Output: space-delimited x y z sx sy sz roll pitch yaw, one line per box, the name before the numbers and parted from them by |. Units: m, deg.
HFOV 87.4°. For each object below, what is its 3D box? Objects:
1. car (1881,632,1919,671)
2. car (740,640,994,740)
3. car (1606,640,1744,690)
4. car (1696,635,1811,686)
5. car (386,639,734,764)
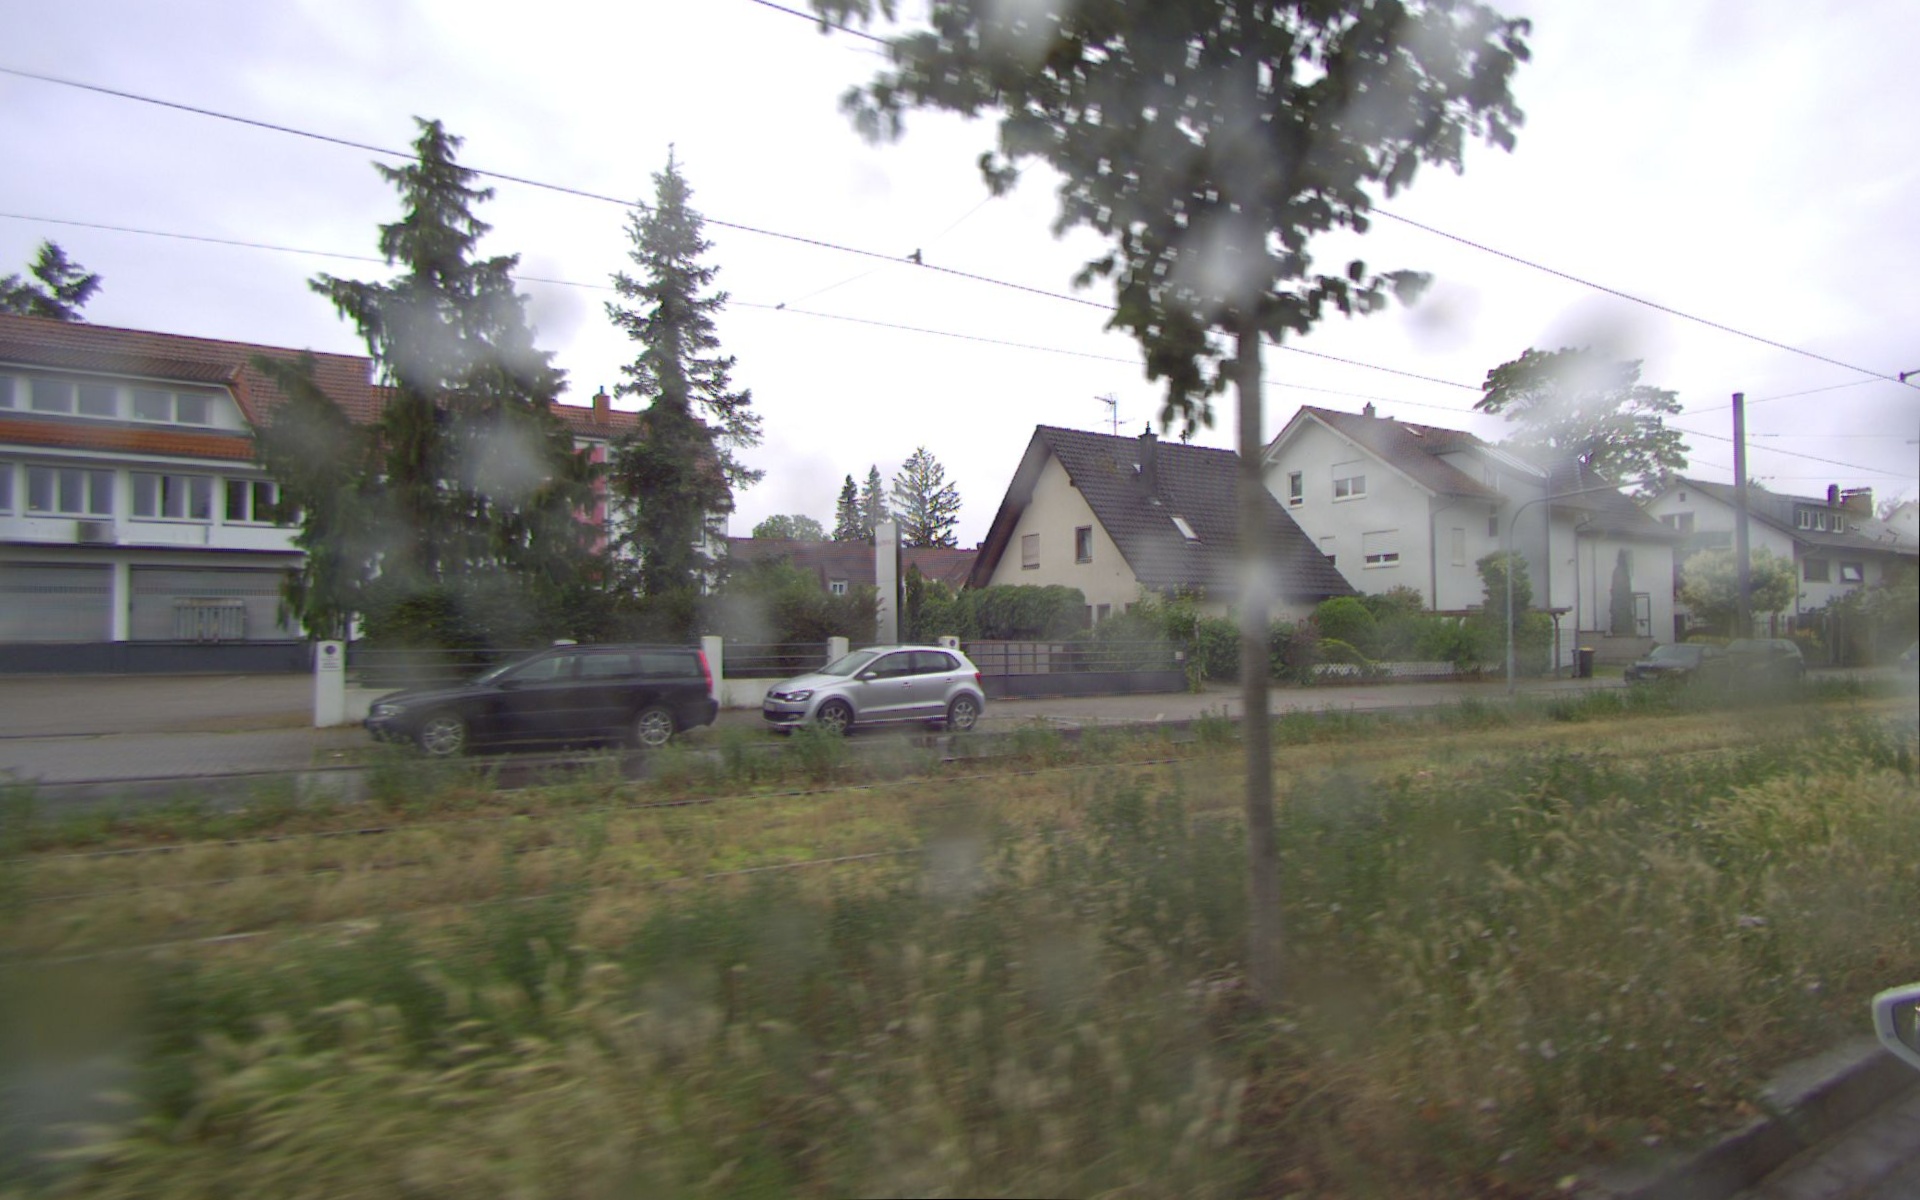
car | 41.693 2.202 43.114 4.154 1.536 1.985 1 0 -29
car | -1.589 1.466 17.400 3.926 1.430 1.983 1 0 -31
car | 22.760 2.017 31.956 4.189 1.368 1.985 1 0 -29
car | 27.097 2.008 34.288 3.825 1.571 1.864 1 0 -31
car | -5.782 1.358 14.680 4.476 1.475 1.985 1 0 -29
